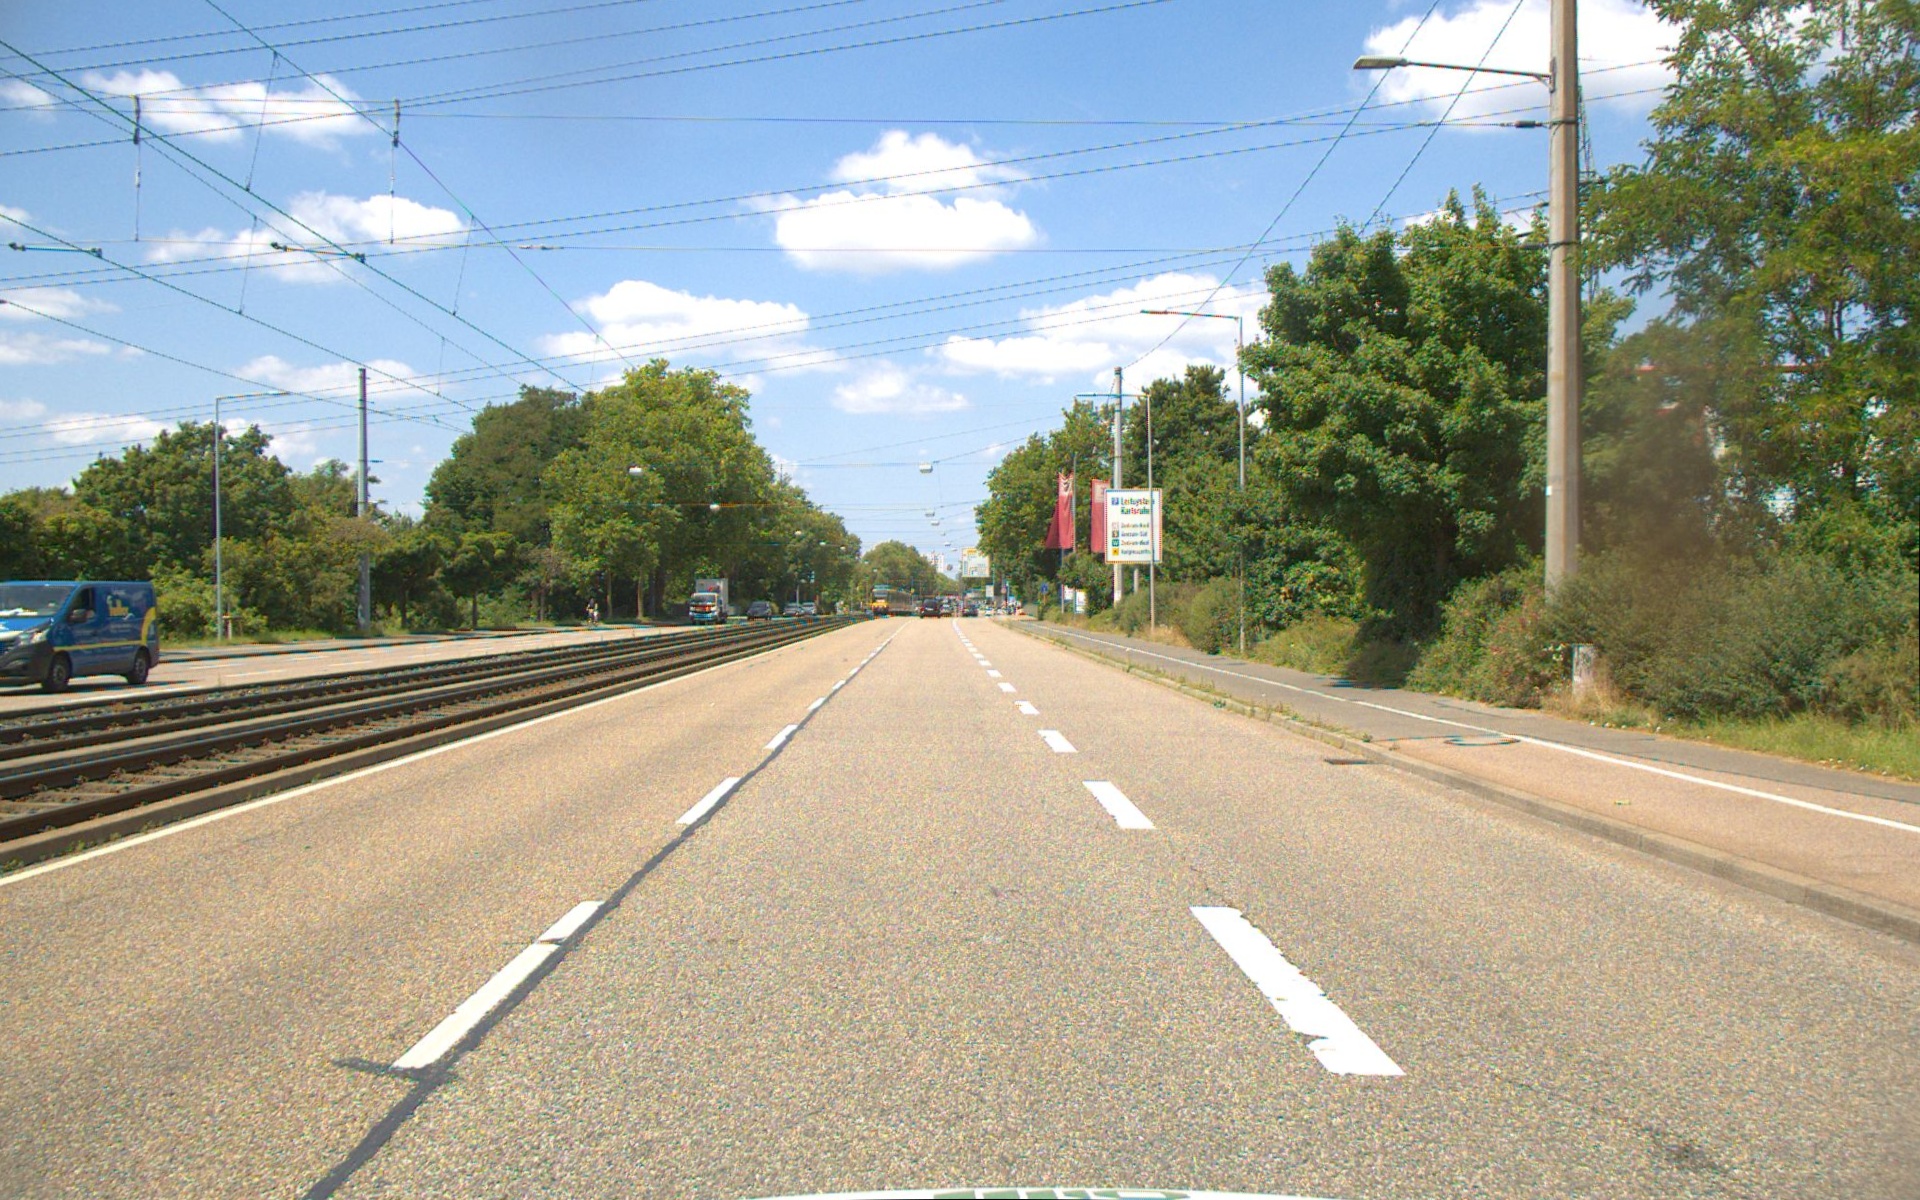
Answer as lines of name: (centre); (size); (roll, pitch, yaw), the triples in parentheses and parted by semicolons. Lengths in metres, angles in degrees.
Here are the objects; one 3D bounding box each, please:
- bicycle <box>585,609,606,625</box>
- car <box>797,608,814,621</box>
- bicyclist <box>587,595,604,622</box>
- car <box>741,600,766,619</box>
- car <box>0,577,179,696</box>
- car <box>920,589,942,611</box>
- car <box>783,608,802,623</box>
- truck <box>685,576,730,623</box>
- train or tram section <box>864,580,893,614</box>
bicycle: (-21.858, 1.016, 99.255); (0.637, 0.874, 2.121); (1, 0, 3)
car: (-17.594, 1.649, 188.765); (1.604, 1.461, 3.720); (-2, 0, -2)
bicyclist: (-21.849, 0.508, 99.204); (0.637, 1.648, 1.155); (1, 0, 3)
car: (-17.521, 0.806, 140.655); (1.717, 1.562, 3.955); (-1, 0, -2)
car: (-16.236, 0.624, 29.977); (1.819, 1.961, 5.007); (-2, 0, -1)
car: (-2.611, 0.027, 147.330); (1.861, 1.837, 3.975); (2, 0, -1)
car: (-17.237, 1.594, 170.264); (1.603, 1.446, 4.127); (-1, 0, 0)
truck: (-18.204, -0.047, 119.434); (2.203, 3.293, 6.042); (0, 0, 0)
train or tram section: (-10.972, -0.400, 224.213); (2.985, 4.342, 15.422); (0, 0, 0)
